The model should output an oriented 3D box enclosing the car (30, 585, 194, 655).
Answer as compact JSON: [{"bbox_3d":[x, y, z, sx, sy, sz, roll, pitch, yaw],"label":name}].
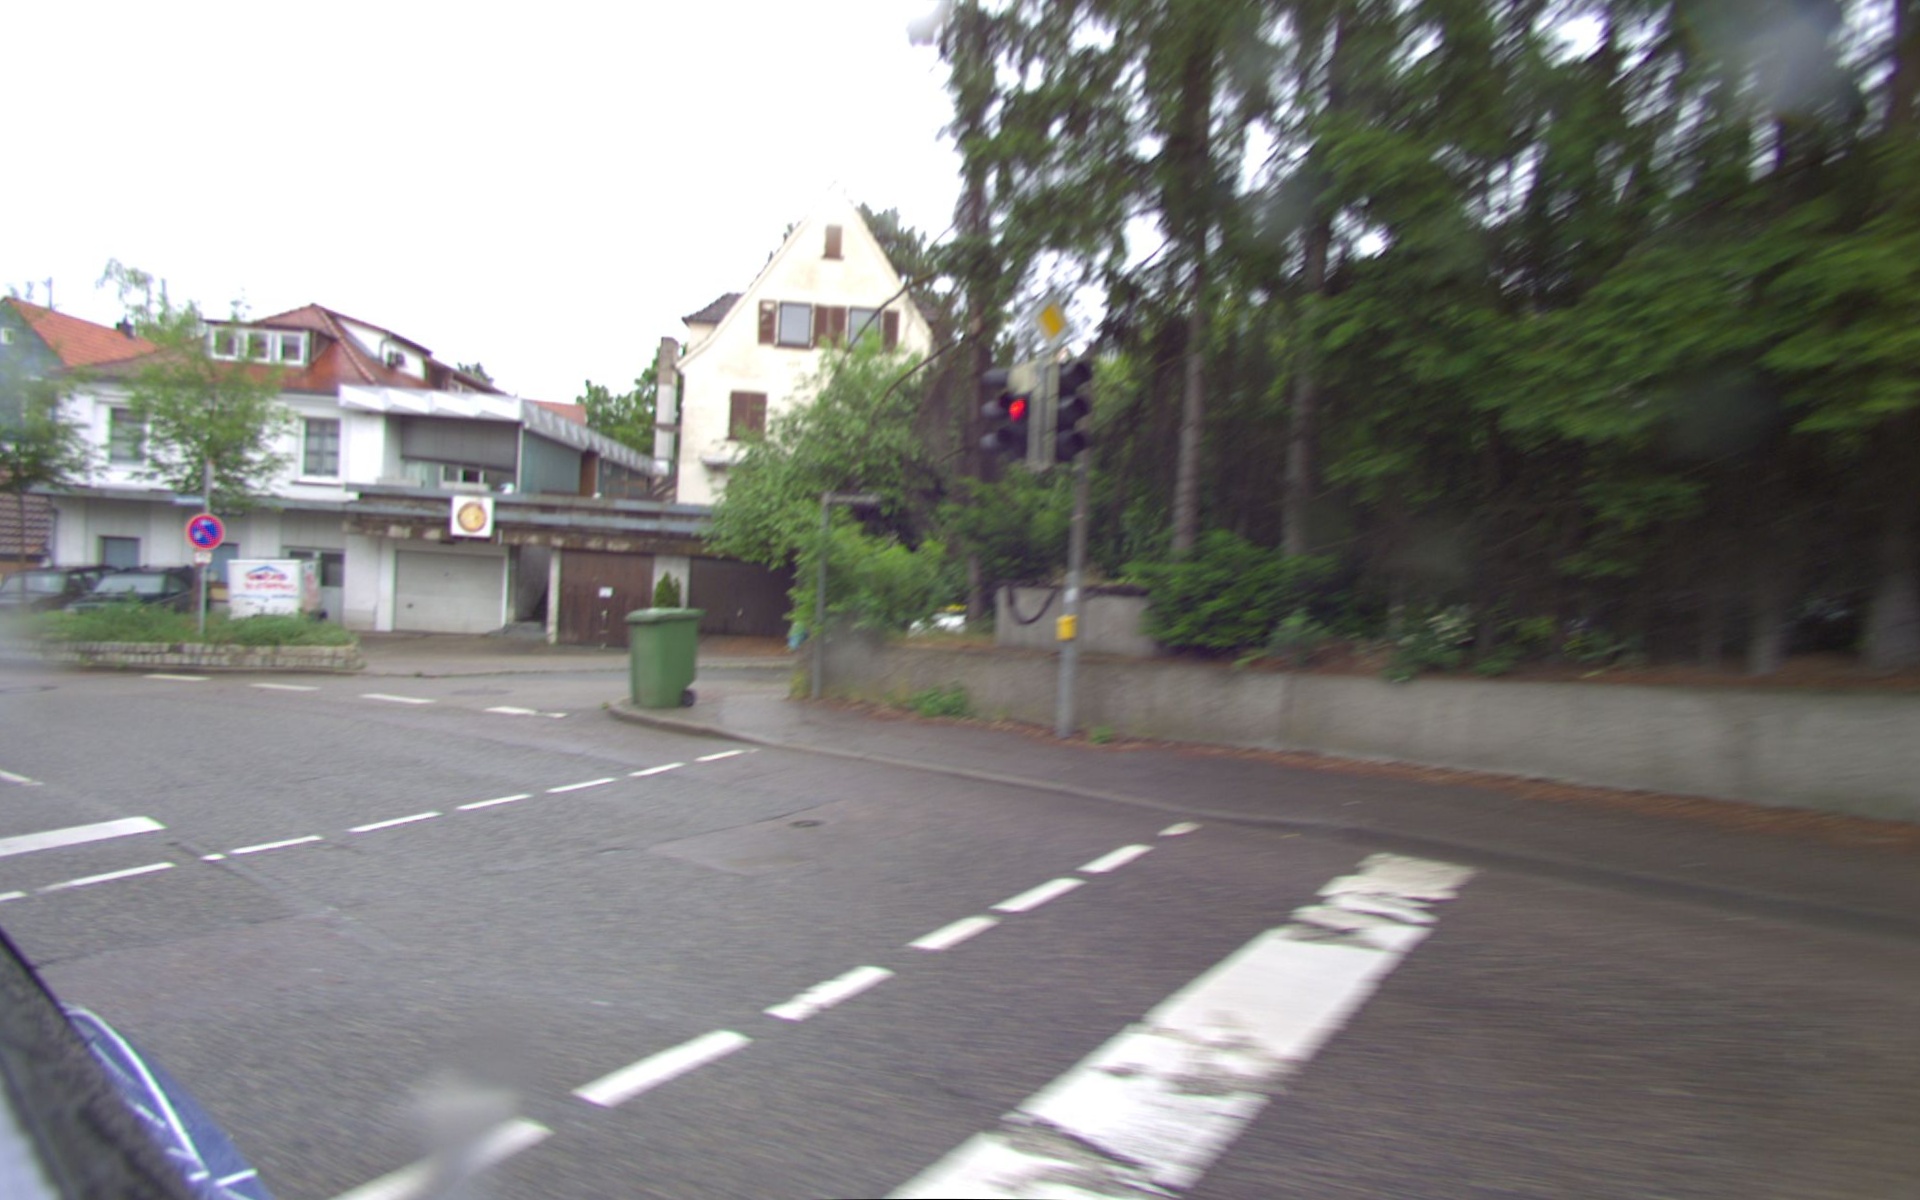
[{"bbox_3d":[-20.787,0.426,24.990,1.808,1.496,3.355,-1,2,-14],"label":"car"}]

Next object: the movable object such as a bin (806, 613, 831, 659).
[{"bbox_3d":[-3.368,0.855,24.073,0.494,1.072,0.366,0,2,9],"label":"movable object such as a bin"}]

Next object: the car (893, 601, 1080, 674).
[{"bbox_3d":[0.502,0.742,20.817,3.693,1.340,1.550,-1,2,-2],"label":"car"}]

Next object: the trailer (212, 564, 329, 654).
[{"bbox_3d":[-17.707,0.193,26.193,1.919,2.118,3.974,0,1,-26],"label":"trailer"}]

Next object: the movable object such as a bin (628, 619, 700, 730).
[{"bbox_3d":[-3.191,0.777,10.880,0.551,1.096,0.708,-2,3,-33],"label":"movable object such as a bin"}]

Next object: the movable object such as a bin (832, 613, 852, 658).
[{"bbox_3d":[-2.821,0.838,24.293,0.384,1.053,0.348,0,2,9],"label":"movable object such as a bin"}]

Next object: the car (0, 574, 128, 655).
[{"bbox_3d":[-23.116,0.298,25.392,1.769,1.787,4.101,-1,3,-13],"label":"car"}]

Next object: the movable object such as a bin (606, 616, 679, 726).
[{"bbox_3d":[-3.602,0.777,11.466,0.615,1.148,0.670,-2,3,-33],"label":"movable object such as a bin"}]
